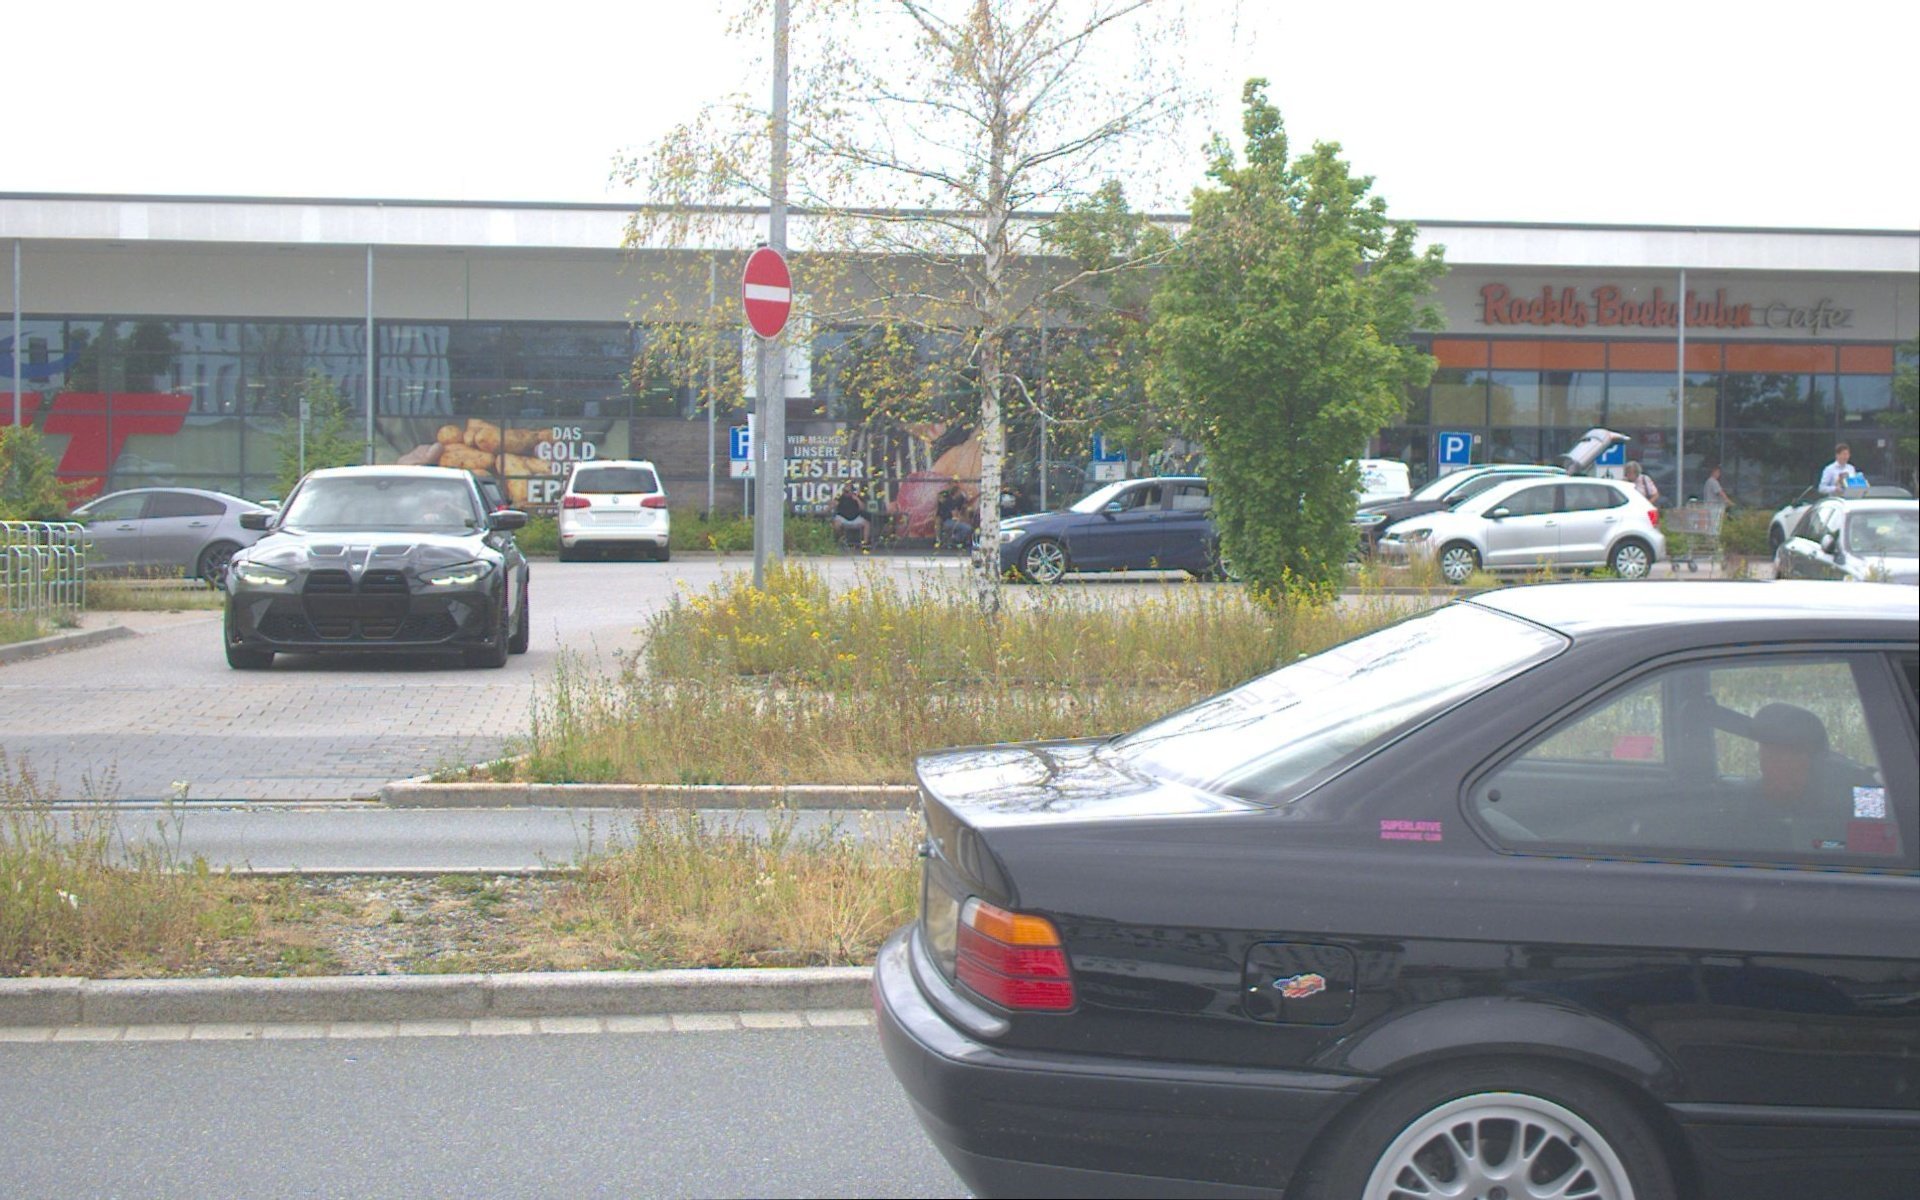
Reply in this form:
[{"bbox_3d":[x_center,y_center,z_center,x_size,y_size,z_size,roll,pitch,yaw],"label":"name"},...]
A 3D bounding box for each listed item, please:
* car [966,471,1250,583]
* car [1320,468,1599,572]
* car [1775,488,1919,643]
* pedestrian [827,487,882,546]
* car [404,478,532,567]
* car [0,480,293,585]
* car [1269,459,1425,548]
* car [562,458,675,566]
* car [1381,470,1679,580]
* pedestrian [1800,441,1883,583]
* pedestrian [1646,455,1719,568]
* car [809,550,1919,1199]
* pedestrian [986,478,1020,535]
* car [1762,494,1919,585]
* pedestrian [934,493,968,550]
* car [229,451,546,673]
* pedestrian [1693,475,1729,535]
[{"bbox_3d":[1.989,-1.006,46.843,3.606,1.449,1.668,0,2,-8],"label":"car"},{"bbox_3d":[7.337,-1.193,50.692,3.746,1.449,1.668,1,2,-7],"label":"car"},{"bbox_3d":[9.273,-0.358,32.902,1.988,1.379,4.150,1,2,1],"label":"car"},{"bbox_3d":[-2.130,-1.678,69.018,0.970,1.150,1.133,0,2,-8],"label":"pedestrian"},{"bbox_3d":[-8.379,-1.353,58.807,1.906,1.439,4.001,0,2,-4],"label":"car"},{"bbox_3d":[-11.276,-0.944,47.462,3.986,1.347,2.001,1,2,-9],"label":"car"},{"bbox_3d":[6.833,-1.743,61.128,1.993,1.503,4.001,0,2,-5],"label":"car"},{"bbox_3d":[-5.837,-1.551,59.154,1.824,1.694,4.235,0,3,-4],"label":"car"},{"bbox_3d":[7.898,-1.051,47.790,3.746,1.449,1.668,1,2,-7],"label":"car"},{"bbox_3d":[12.655,-1.276,49.390,0.865,2.006,1.004,1,2,-2],"label":"pedestrian"},{"bbox_3d":[10.683,-1.311,50.838,0.821,1.626,0.899,1,2,-2],"label":"pedestrian"},{"bbox_3d":[1.891,0.641,6.472,4.286,1.381,1.759,0,2,-4],"label":"car"},{"bbox_3d":[0.846,-1.845,67.889,0.576,1.120,0.562,0,2,-10],"label":"pedestrian"},{"bbox_3d":[16.108,-1.113,62.067,1.993,1.502,4.001,1,3,-5],"label":"car"},{"bbox_3d":[-0.187,-1.568,68.610,0.576,1.120,0.562,0,2,-10],"label":"pedestrian"},{"bbox_3d":[-4.044,-0.325,24.921,1.779,1.440,4.611,1,2,-3],"label":"car"},{"bbox_3d":[15.104,-1.917,69.145,0.560,1.197,0.528,0,2,-7],"label":"pedestrian"}]
